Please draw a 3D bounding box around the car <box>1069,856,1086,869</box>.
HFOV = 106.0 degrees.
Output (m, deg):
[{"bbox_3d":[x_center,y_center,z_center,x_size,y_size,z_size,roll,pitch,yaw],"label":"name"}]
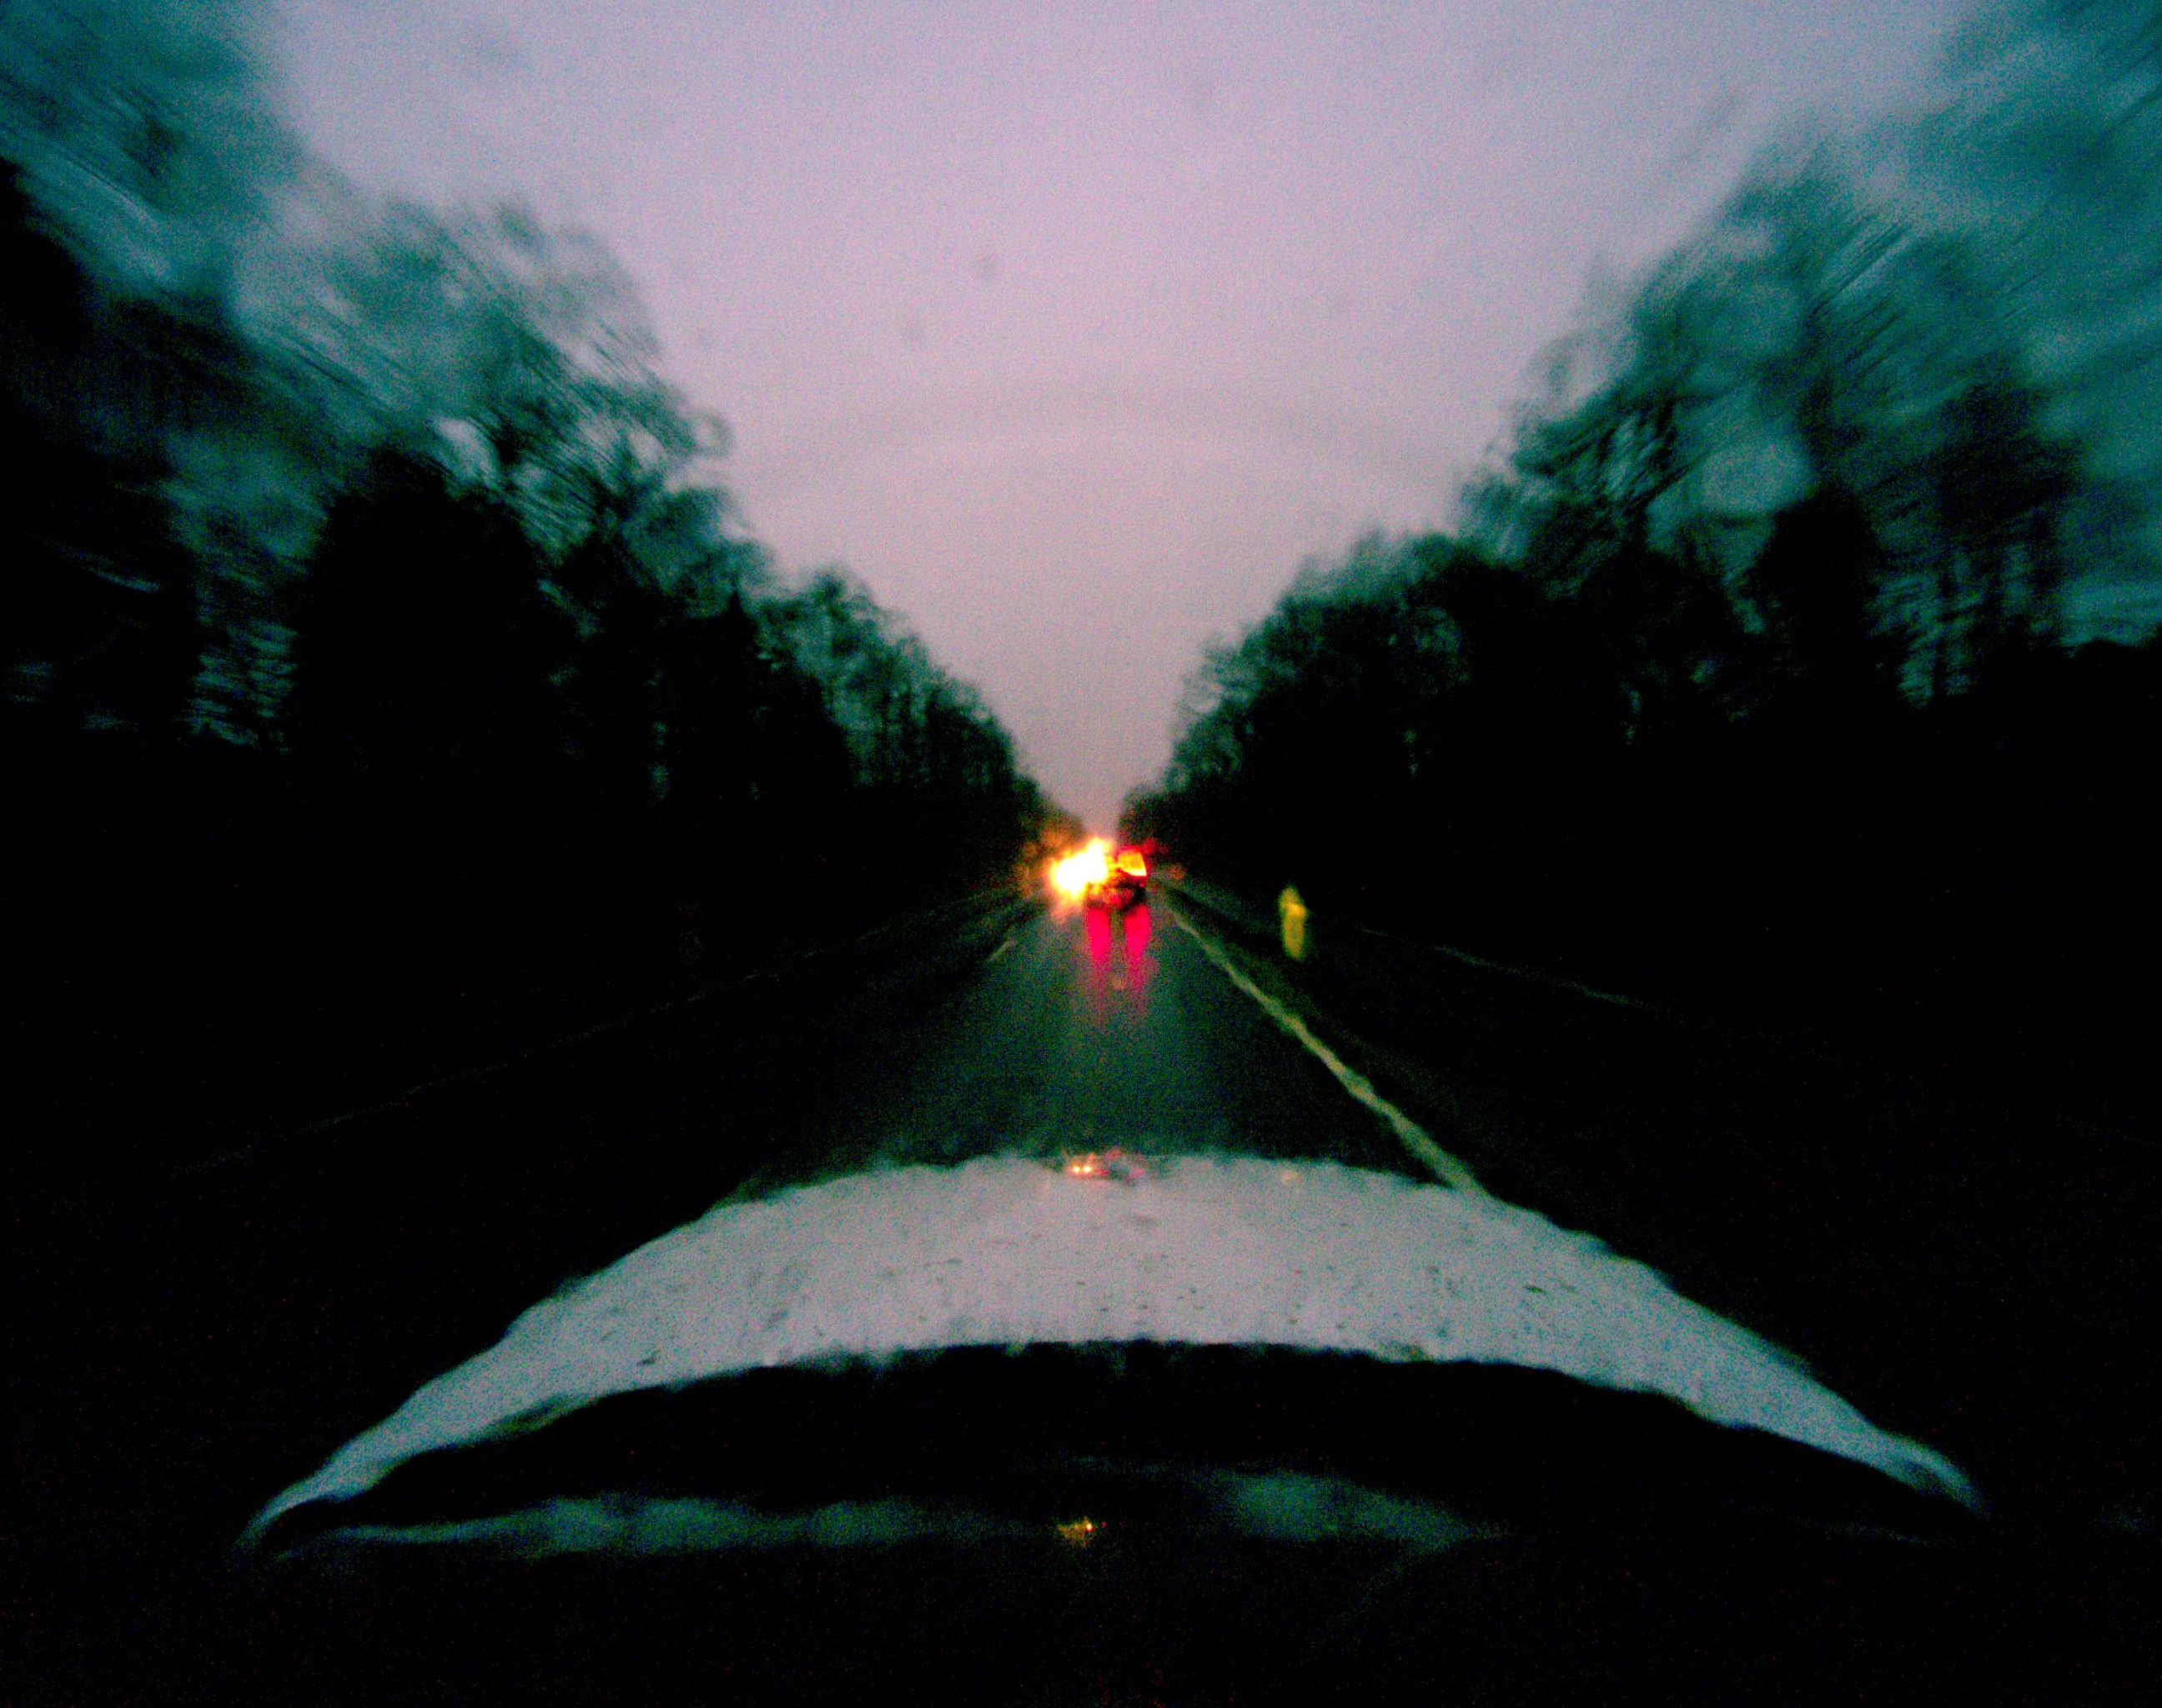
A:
[{"bbox_3d":[-0.380,1.011,95.805,1.792,1.461,4.179,-3,0,2],"label":"car"}]
